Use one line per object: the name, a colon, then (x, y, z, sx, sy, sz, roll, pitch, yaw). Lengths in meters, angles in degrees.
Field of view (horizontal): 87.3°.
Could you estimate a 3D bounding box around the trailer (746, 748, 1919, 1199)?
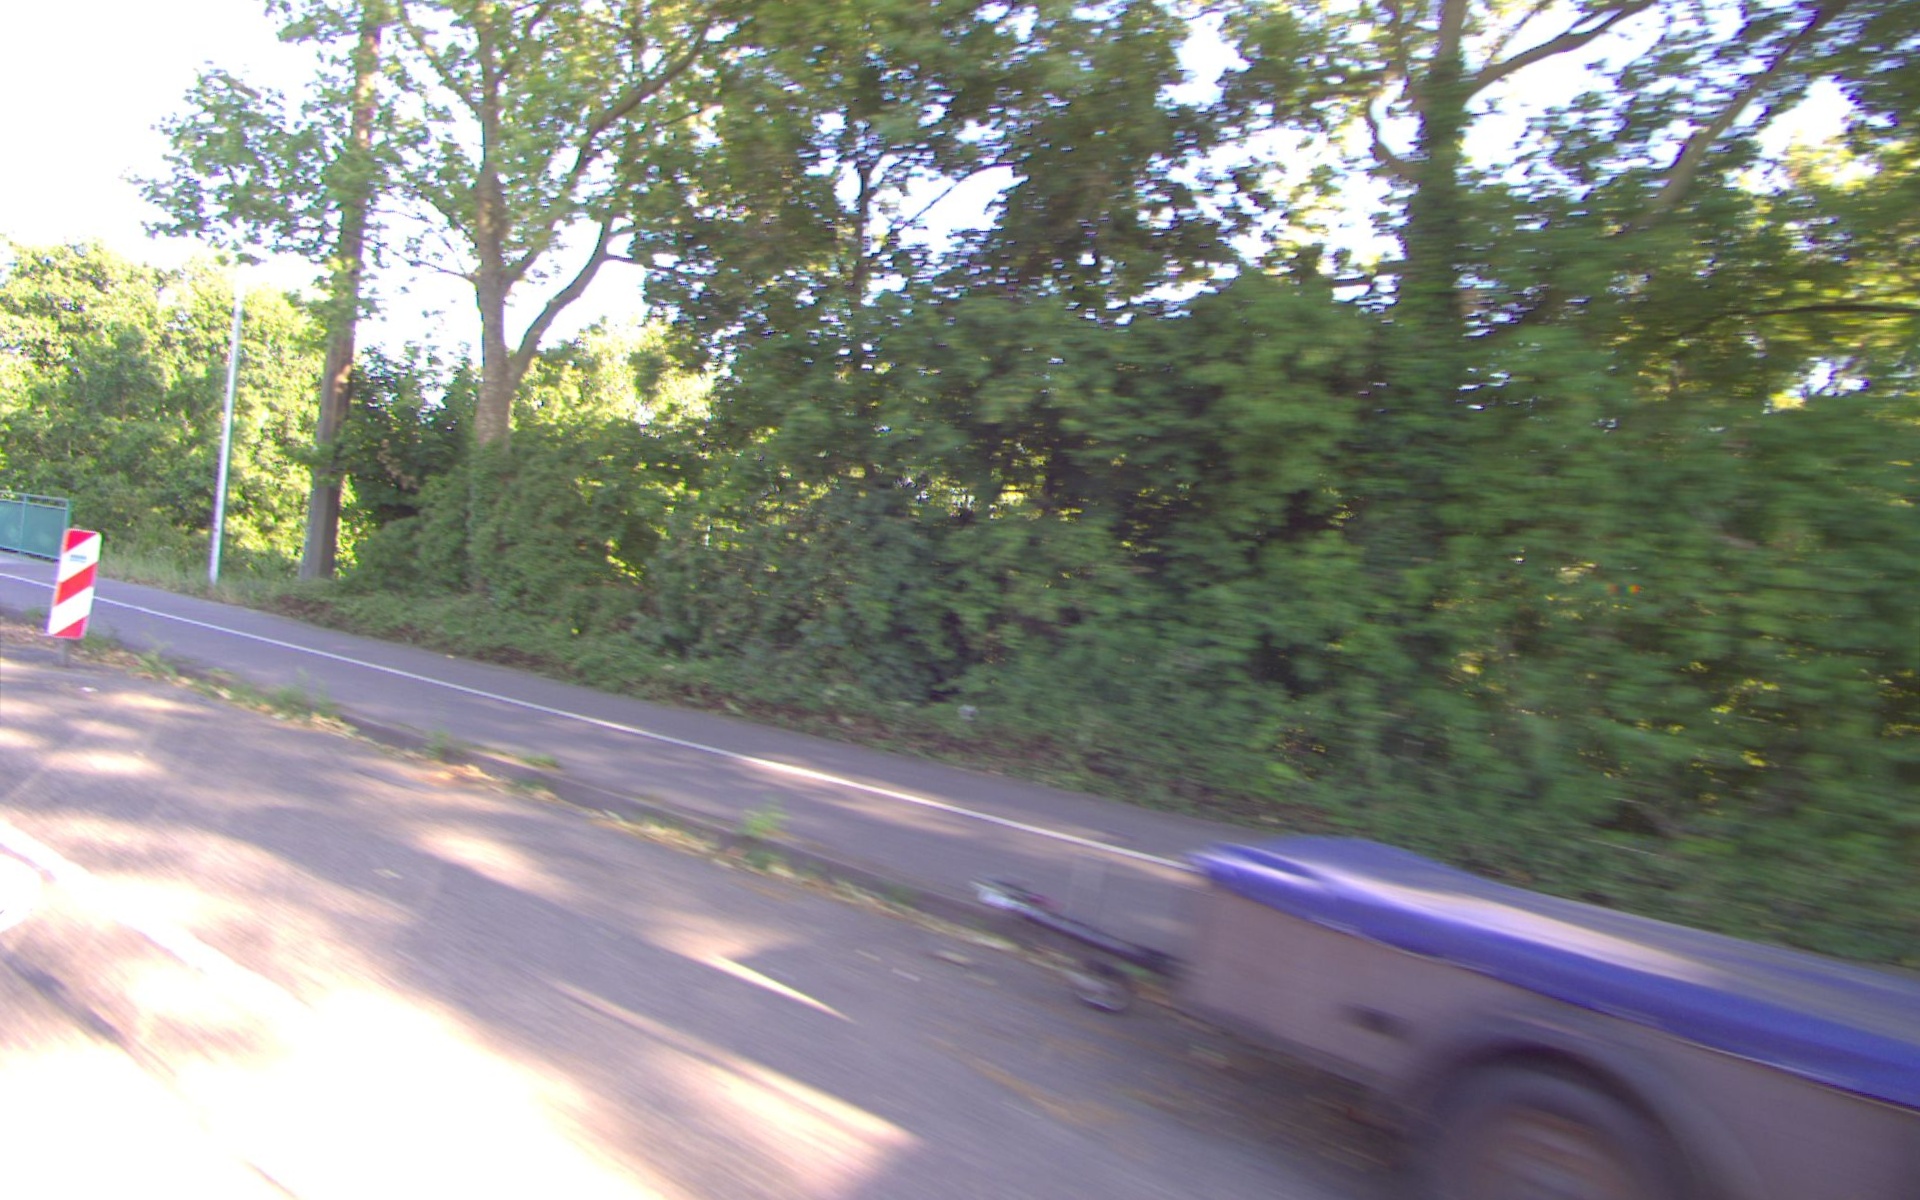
trailer: (1.115, 1.284, 3.478, 3.443, 0.869, 1.578, 7, -1, 32)
